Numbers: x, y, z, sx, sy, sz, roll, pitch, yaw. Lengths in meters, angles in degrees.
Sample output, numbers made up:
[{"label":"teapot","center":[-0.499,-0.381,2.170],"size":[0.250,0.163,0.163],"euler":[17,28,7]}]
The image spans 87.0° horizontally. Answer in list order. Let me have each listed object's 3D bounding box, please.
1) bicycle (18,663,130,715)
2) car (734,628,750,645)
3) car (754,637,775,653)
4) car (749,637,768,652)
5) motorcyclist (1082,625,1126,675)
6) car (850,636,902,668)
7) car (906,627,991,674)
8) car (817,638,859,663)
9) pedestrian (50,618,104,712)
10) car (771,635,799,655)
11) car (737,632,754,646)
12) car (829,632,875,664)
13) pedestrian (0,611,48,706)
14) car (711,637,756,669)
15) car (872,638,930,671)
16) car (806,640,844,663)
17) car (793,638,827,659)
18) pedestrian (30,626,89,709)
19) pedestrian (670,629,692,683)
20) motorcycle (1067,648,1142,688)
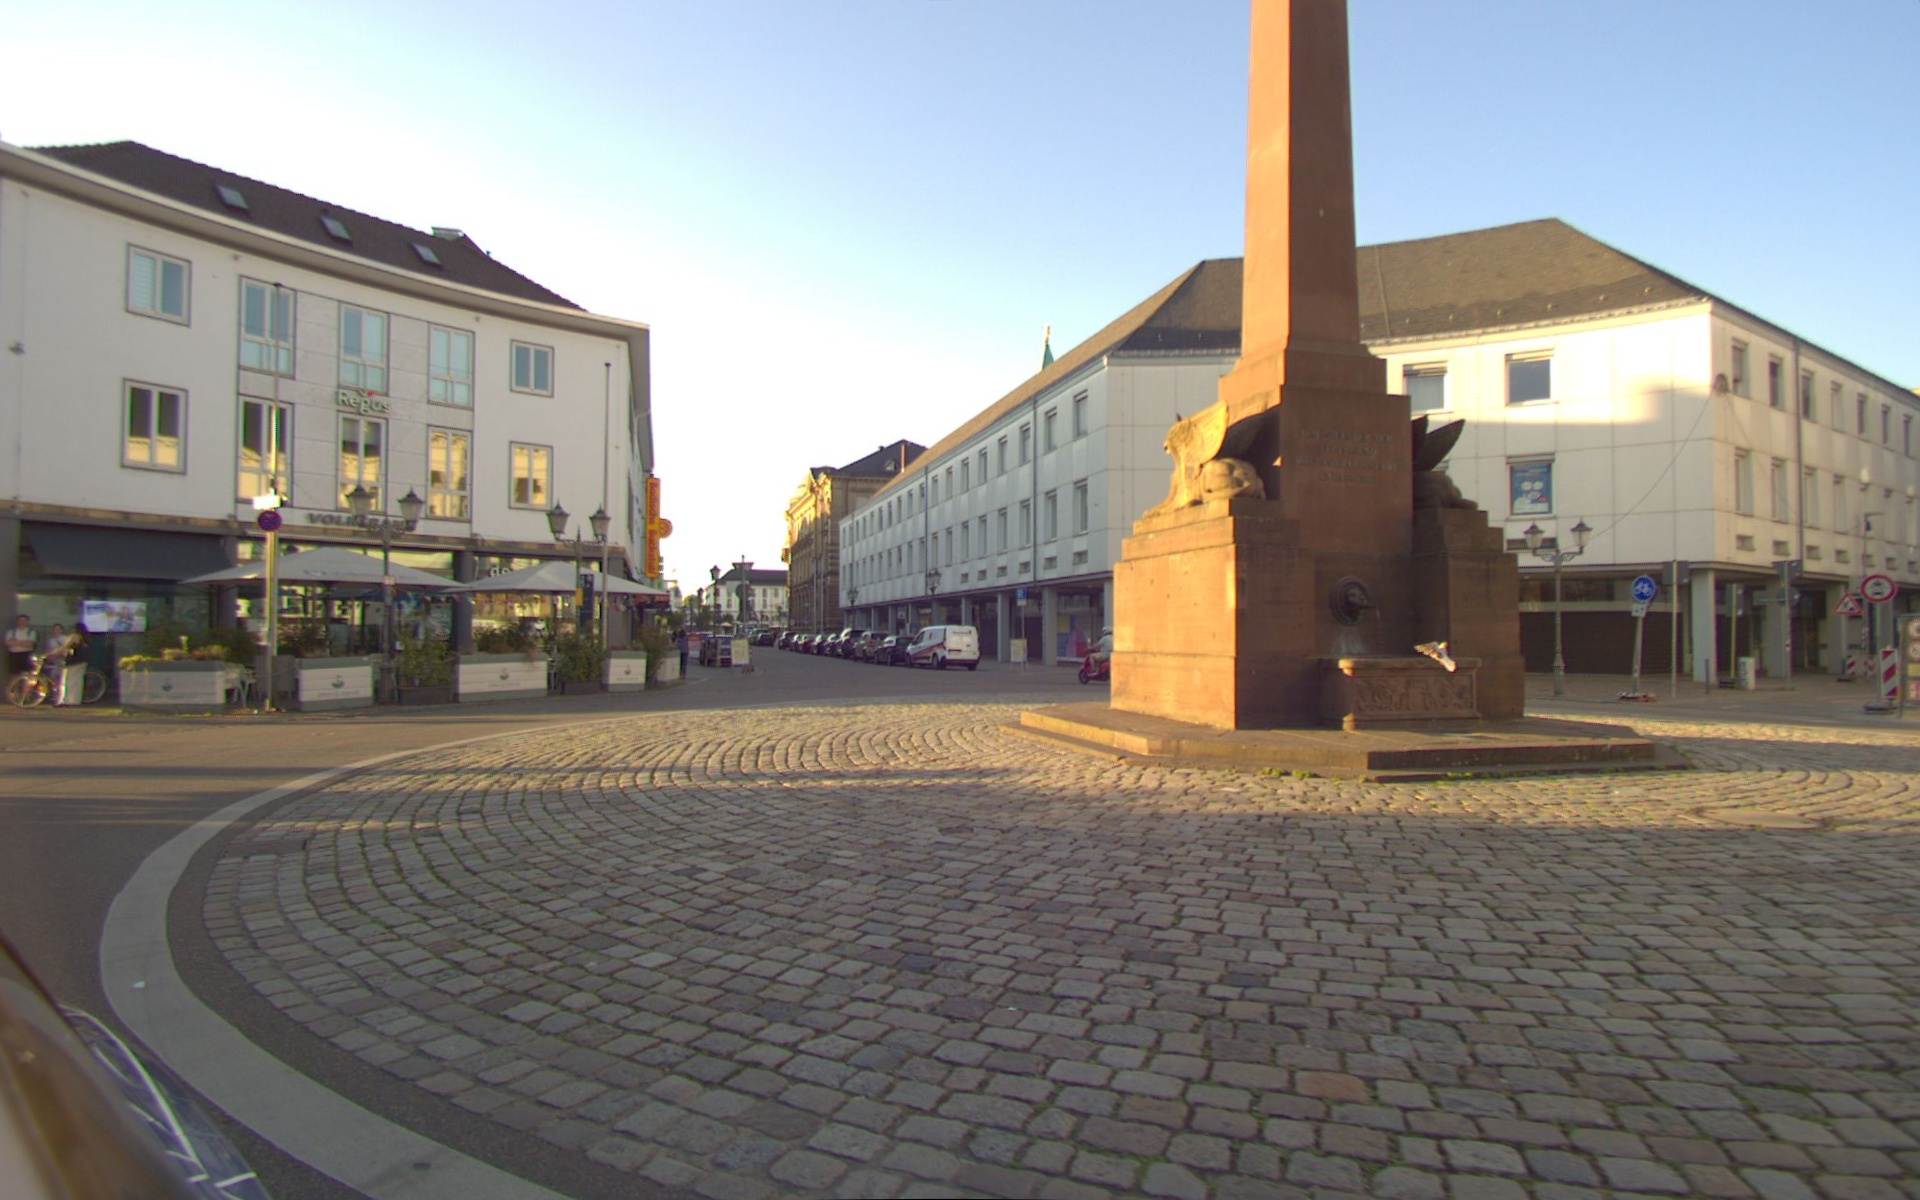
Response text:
[{"label":"bicycle","center":[-17.811,1.769,20.380],"size":[0.470,0.941,1.666],"euler":[-1,-2,20]},{"label":"car","center":[-28.742,4.835,133.610],"size":[1.752,2.244,4.341],"euler":[0,-2,-16]},{"label":"car","center":[-21.264,4.901,109.950],"size":[1.752,1.679,4.341],"euler":[0,-2,-16]},{"label":"car","center":[-23.041,5.109,115.807],"size":[1.752,1.679,4.341],"euler":[0,-2,-16]},{"label":"motorcyclist","center":[3.968,1.377,27.894],"size":[0.792,1.354,0.862],"euler":[2,-3,-39]},{"label":"car","center":[-4.343,2.606,51.594],"size":[1.751,1.527,3.973],"euler":[1,-2,-18]},{"label":"car","center":[-0.561,2.044,42.101],"size":[1.987,1.839,4.474],"euler":[1,-2,-23]},{"label":"car","center":[-7.644,3.117,63.177],"size":[1.751,1.503,4.342],"euler":[1,-2,-18]},{"label":"pedestrian","center":[-17.678,1.283,20.276],"size":[0.500,1.832,0.721],"euler":[0,-2,-15]},{"label":"car","center":[-14.912,3.798,86.086],"size":[1.751,1.679,4.342],"euler":[1,-2,-18]},{"label":"car","center":[-26.924,4.904,127.158],"size":[1.752,1.679,4.341],"euler":[0,-2,-16]},{"label":"car","center":[-6.201,2.688,57.624],"size":[1.751,1.741,4.342],"euler":[1,-2,-18]},{"label":"pedestrian","center":[-19.473,1.210,21.006],"size":[0.571,1.938,0.544],"euler":[0,-2,-15]},{"label":"car","center":[-10.621,2.445,47.284],"size":[1.752,1.435,3.973],"euler":[0,-2,-17]},{"label":"car","center":[-2.804,2.510,47.119],"size":[1.751,1.435,3.973],"euler":[1,-2,-18]},{"label":"car","center":[-9.115,3.423,68.013],"size":[1.751,1.503,4.342],"euler":[1,-2,-18]},{"label":"car","center":[-10.927,3.505,73.443],"size":[1.751,1.503,4.342],"euler":[1,-2,-18]},{"label":"pedestrian","center":[-18.625,1.383,20.953],"size":[0.609,1.689,0.736],"euler":[0,-2,-15]},{"label":"pedestrian","center":[-9.116,1.818,33.070],"size":[0.593,1.713,0.716],"euler":[1,-2,-22]},{"label":"motorcycle","center":[3.957,1.857,27.880],"size":[0.792,1.053,2.037],"euler":[2,-3,-39]}]
